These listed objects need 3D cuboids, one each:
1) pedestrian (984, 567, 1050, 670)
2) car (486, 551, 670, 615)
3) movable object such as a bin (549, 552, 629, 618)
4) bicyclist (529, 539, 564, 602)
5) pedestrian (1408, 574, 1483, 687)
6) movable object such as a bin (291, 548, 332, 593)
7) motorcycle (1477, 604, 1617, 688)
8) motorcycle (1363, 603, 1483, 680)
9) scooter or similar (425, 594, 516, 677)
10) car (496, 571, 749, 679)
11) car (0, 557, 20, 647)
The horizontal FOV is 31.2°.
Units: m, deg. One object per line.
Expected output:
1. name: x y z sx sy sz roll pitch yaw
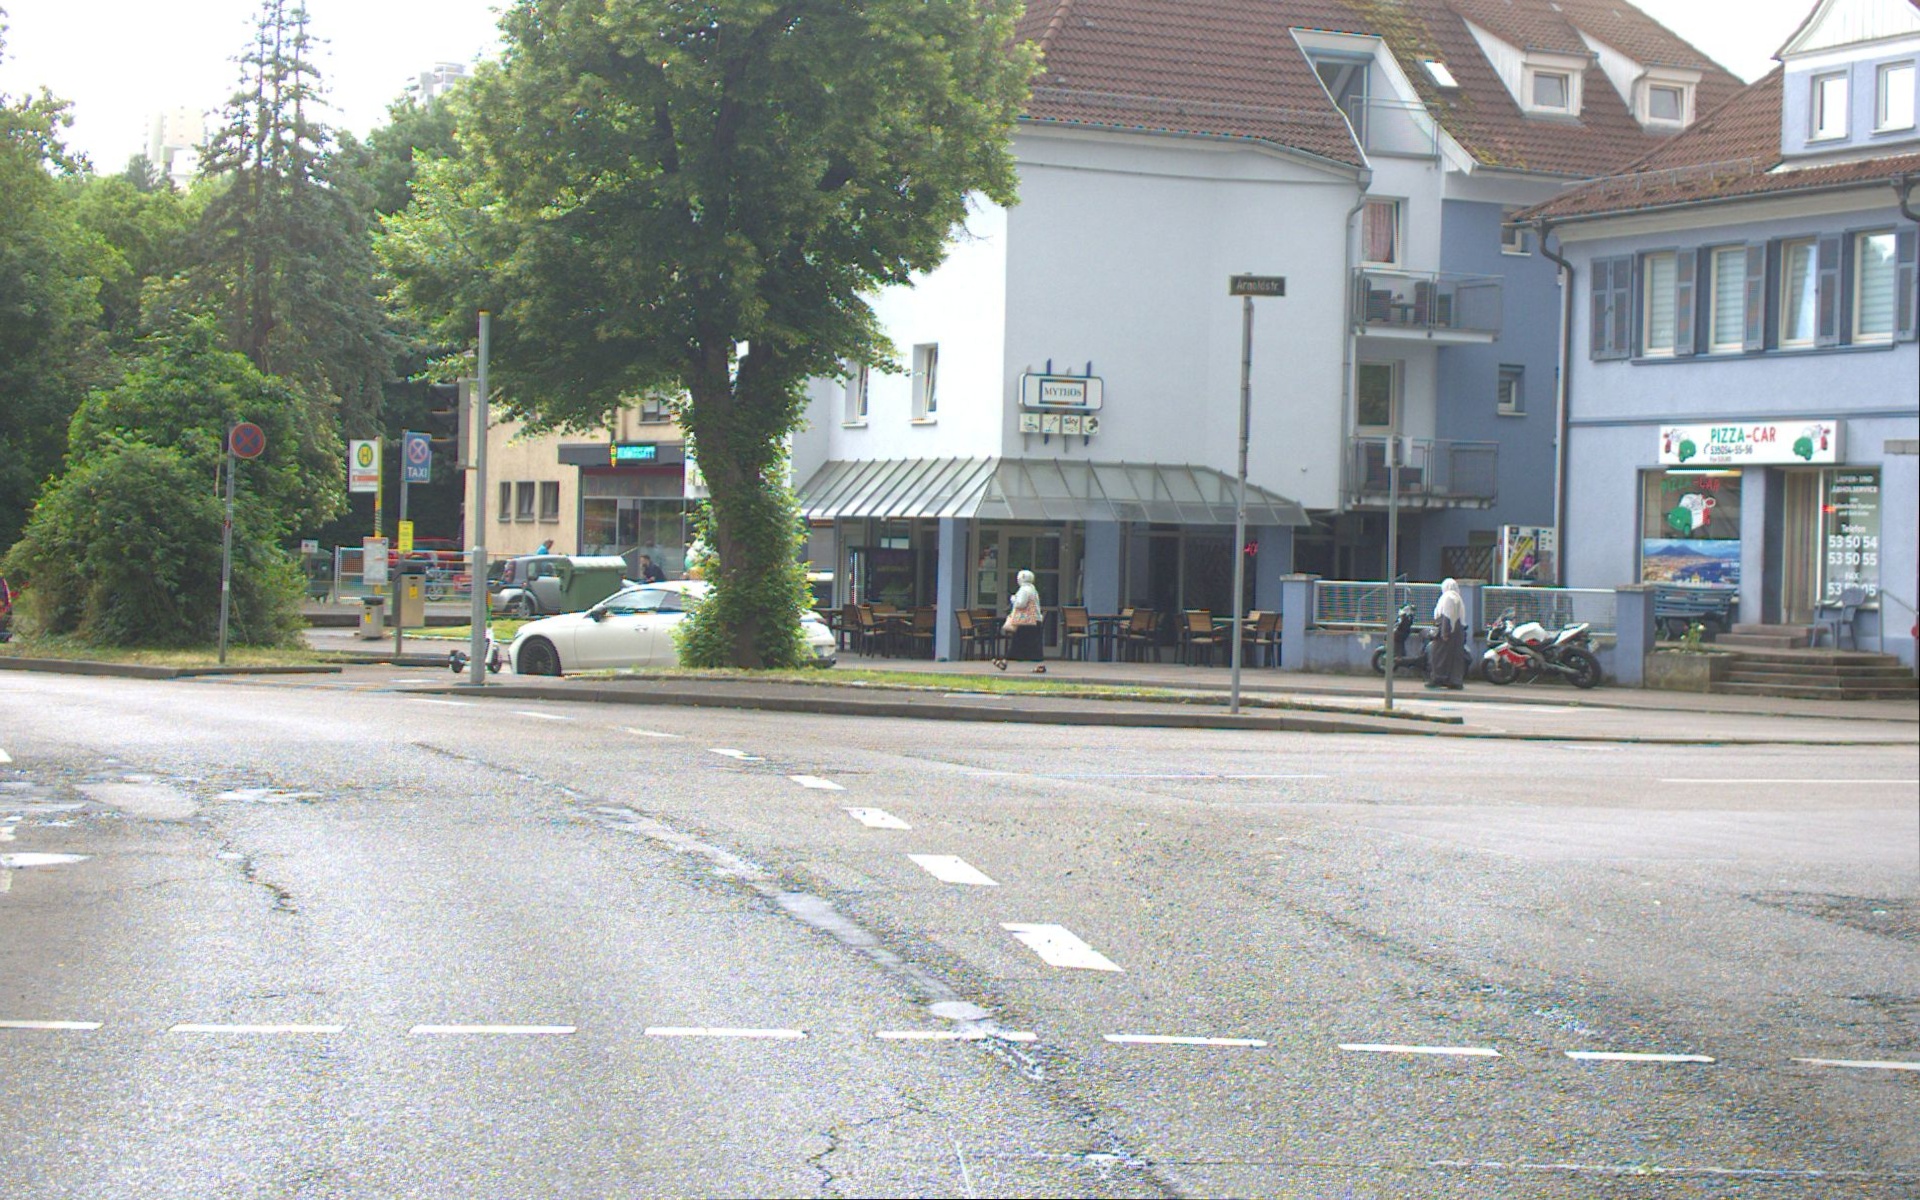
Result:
1. pedestrian: 0.870 0.277 52.293 0.707 1.539 0.677 2 1 40
2. car: -8.428 -0.363 75.874 3.733 1.340 1.434 1 1 -26
3. movable object such as a bin: -7.986 -0.322 73.977 1.440 1.404 0.967 1 1 -27
4. bicyclist: -10.174 -0.733 84.589 0.737 1.536 0.600 1 1 -19
5. pedestrian: 6.779 0.423 48.006 0.768 1.539 0.677 1 1 39
6. movable object such as a bin: -16.250 -0.728 86.170 0.950 1.111 0.383 1 1 -21
7. motorcycle: 8.254 0.633 48.383 1.798 1.118 0.693 2 1 38
8. motorcycle: 6.749 0.595 50.162 1.636 1.060 0.693 2 1 44
9. scooter or similar: -6.062 0.432 42.652 0.417 1.008 1.565 1 1 20
10. car: -4.534 0.316 46.045 3.171 1.350 1.436 2 1 35
11. car: -16.517 -0.012 53.724 3.590 1.389 1.469 2 1 32
